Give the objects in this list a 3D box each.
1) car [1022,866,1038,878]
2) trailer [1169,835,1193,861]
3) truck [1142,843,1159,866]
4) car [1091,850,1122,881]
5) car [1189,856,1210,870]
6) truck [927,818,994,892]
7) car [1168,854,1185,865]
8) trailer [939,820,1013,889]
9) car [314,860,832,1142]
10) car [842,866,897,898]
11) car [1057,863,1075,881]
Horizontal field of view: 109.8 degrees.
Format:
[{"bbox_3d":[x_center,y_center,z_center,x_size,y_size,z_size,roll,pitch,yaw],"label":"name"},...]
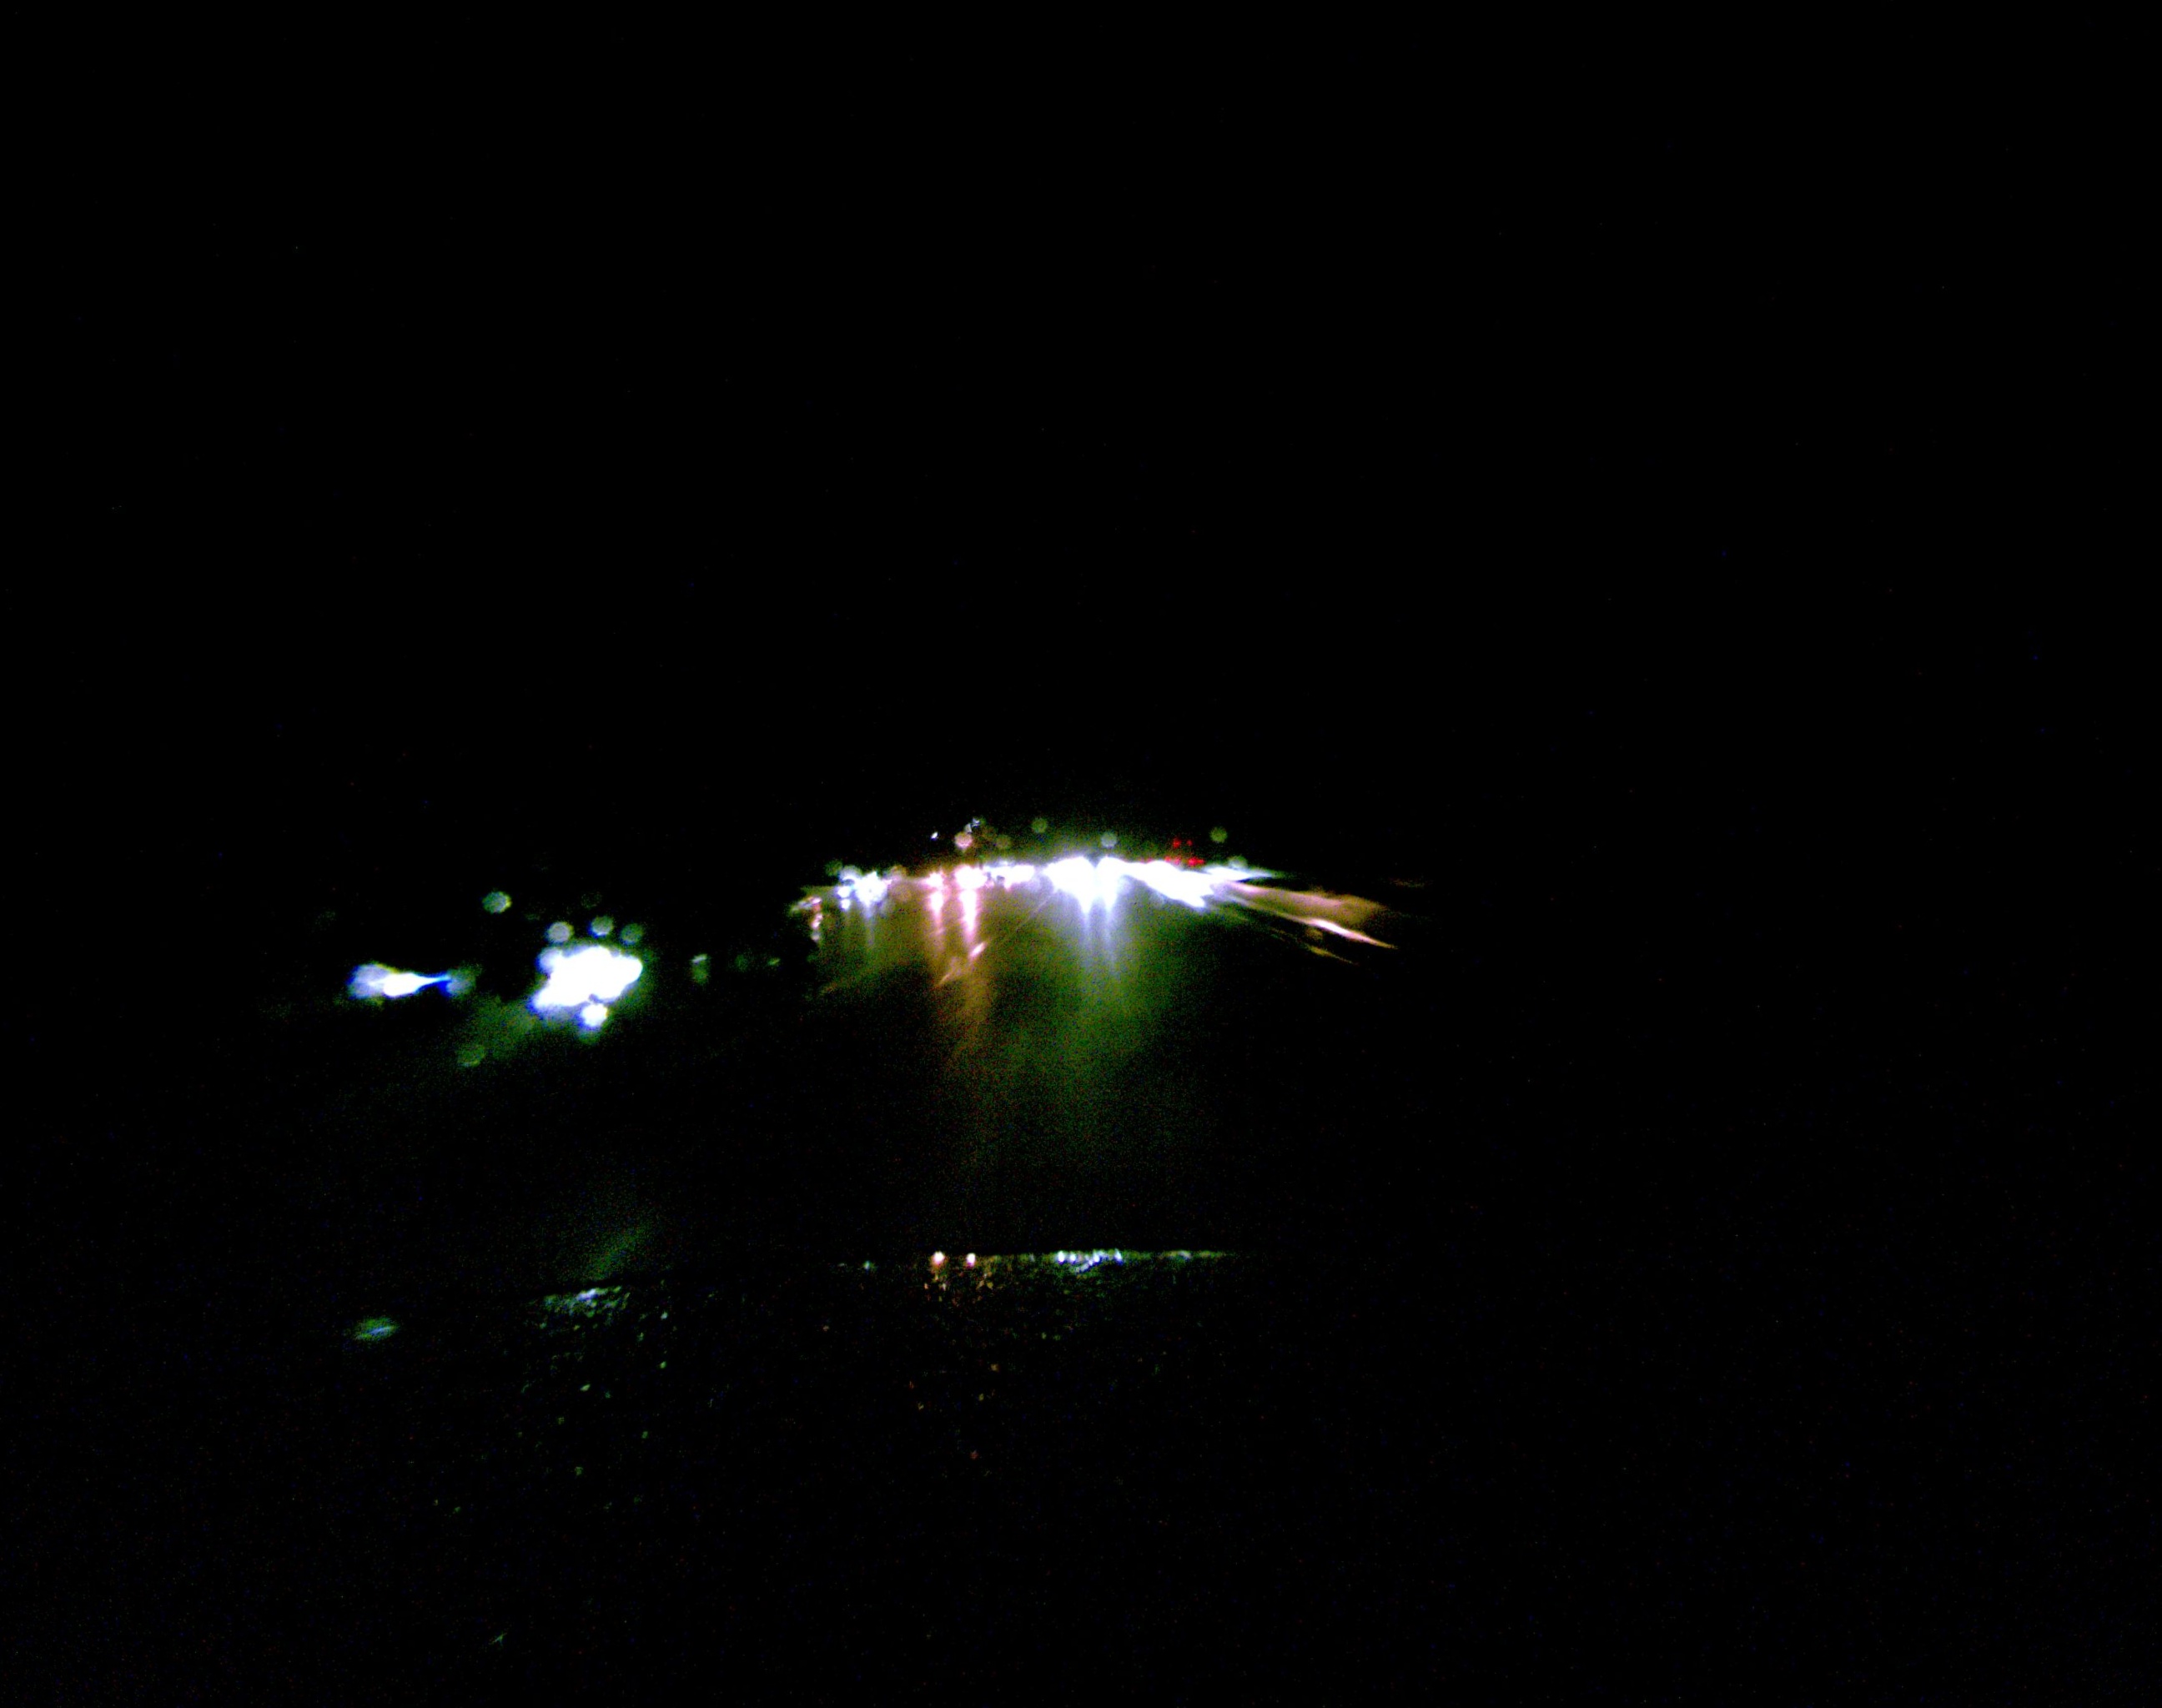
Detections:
[{"bbox_3d":[-8.075,2.887,120.173,1.998,1.615,4.626,-5,0,1],"label":"car"},{"bbox_3d":[19.242,-1.097,146.631,2.629,4.518,13.721,-5,0,1],"label":"trailer"},{"bbox_3d":[19.916,0.144,218.669,3.337,6.068,16.623,-5,1,1],"label":"truck"},{"bbox_3d":[1.787,0.775,52.469,1.998,2.002,4.001,-3,0,3],"label":"car"},{"bbox_3d":[15.052,1.082,96.912,1.998,1.516,4.670,-5,0,1],"label":"car"},{"bbox_3d":[-7.014,0.038,44.976,2.782,3.946,5.198,-5,0,1],"label":"truck"},{"bbox_3d":[15.344,0.857,122.285,1.998,1.516,4.670,-5,0,1],"label":"car"},{"bbox_3d":[-6.911,0.001,52.465,2.746,3.955,13.819,-5,0,1],"label":"trailer"},{"bbox_3d":[-3.742,0.929,6.535,1.848,1.614,3.679,-4,0,1],"label":"car"},{"bbox_3d":[-12.601,1.631,45.567,1.919,1.580,4.116,-5,0,1],"label":"car"},{"bbox_3d":[-1.877,2.267,97.365,1.998,2.002,4.000,-5,0,1],"label":"car"}]
